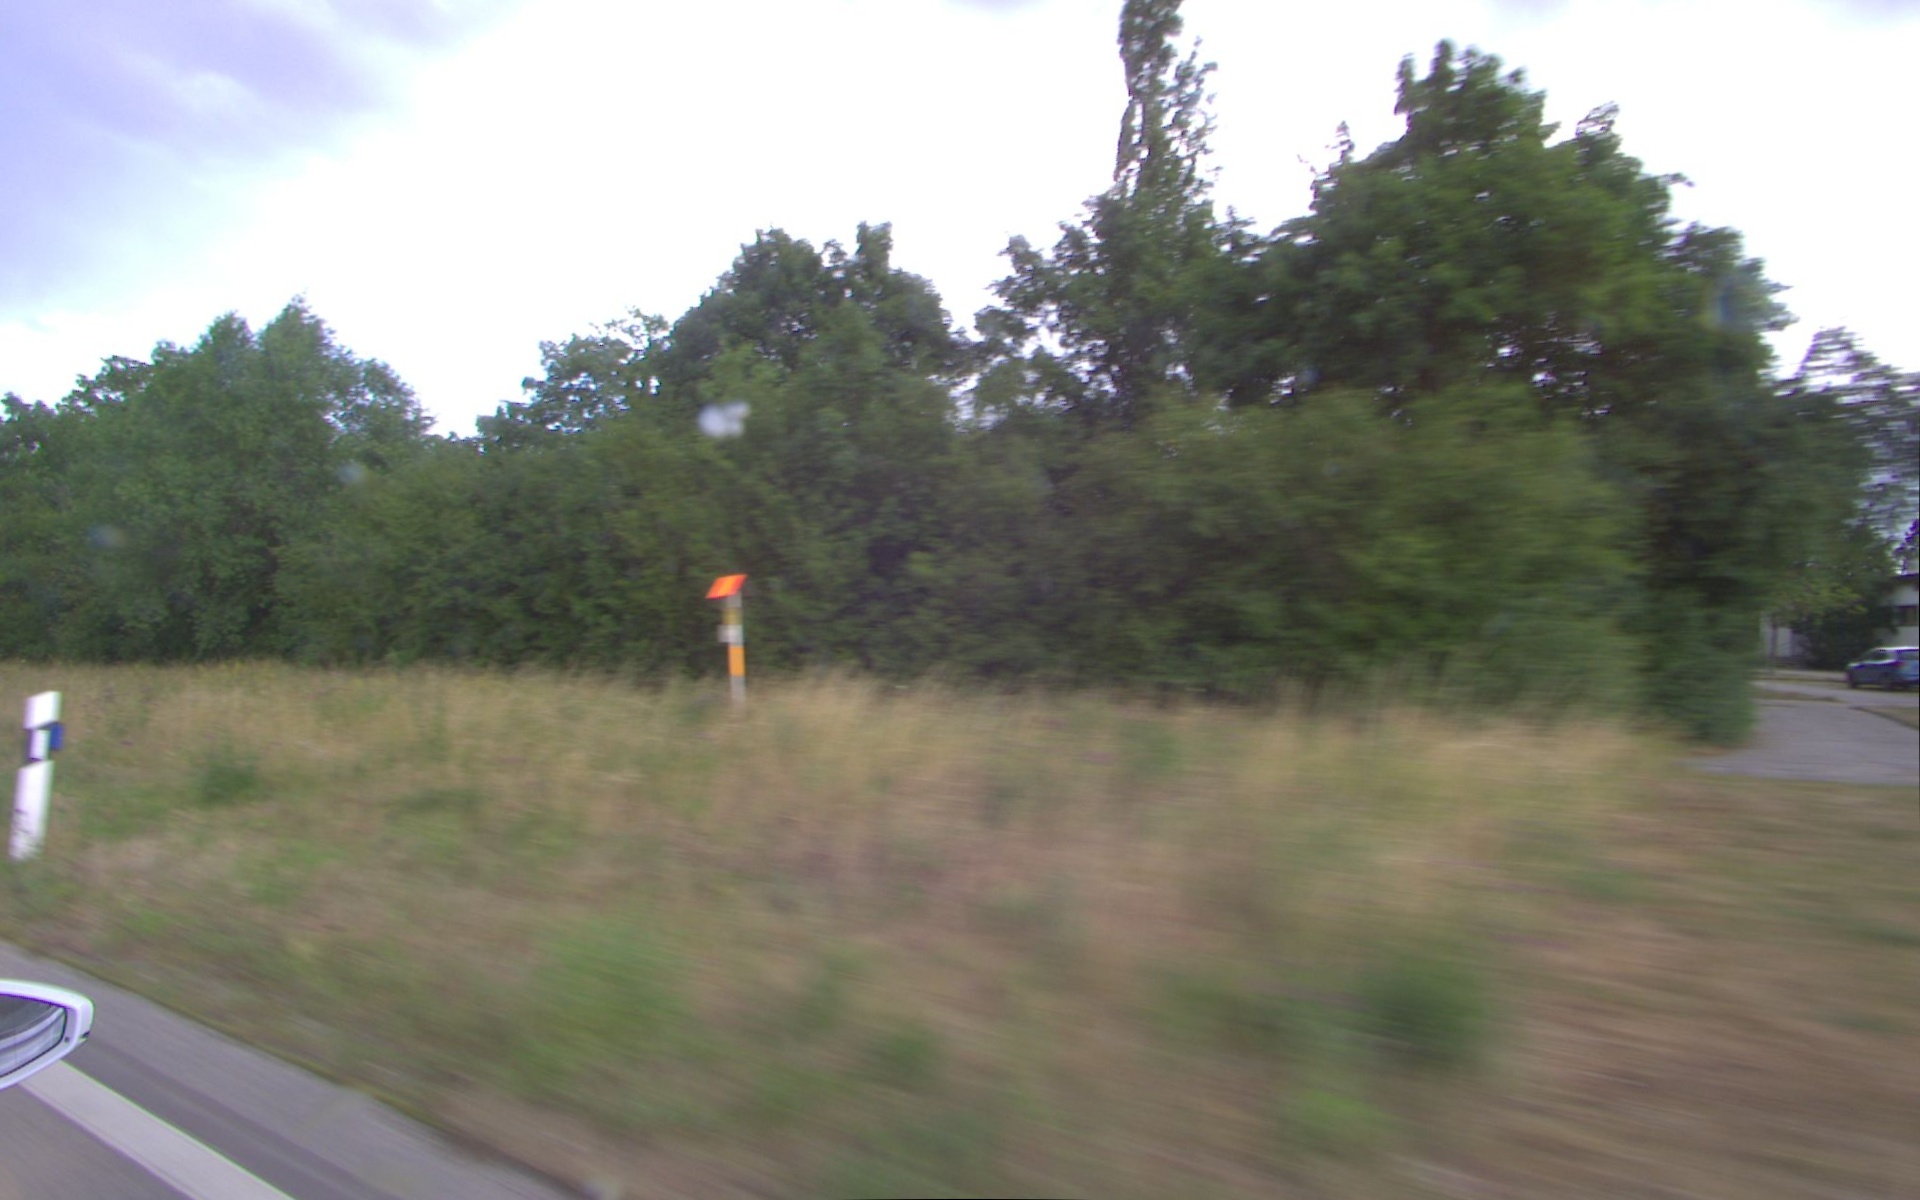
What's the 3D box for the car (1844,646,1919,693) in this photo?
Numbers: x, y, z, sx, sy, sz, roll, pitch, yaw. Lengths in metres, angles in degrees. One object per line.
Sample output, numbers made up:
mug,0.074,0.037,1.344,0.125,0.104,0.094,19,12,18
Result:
car,31.264,2.267,33.164,1.799,1.482,3.698,-1,-2,22
